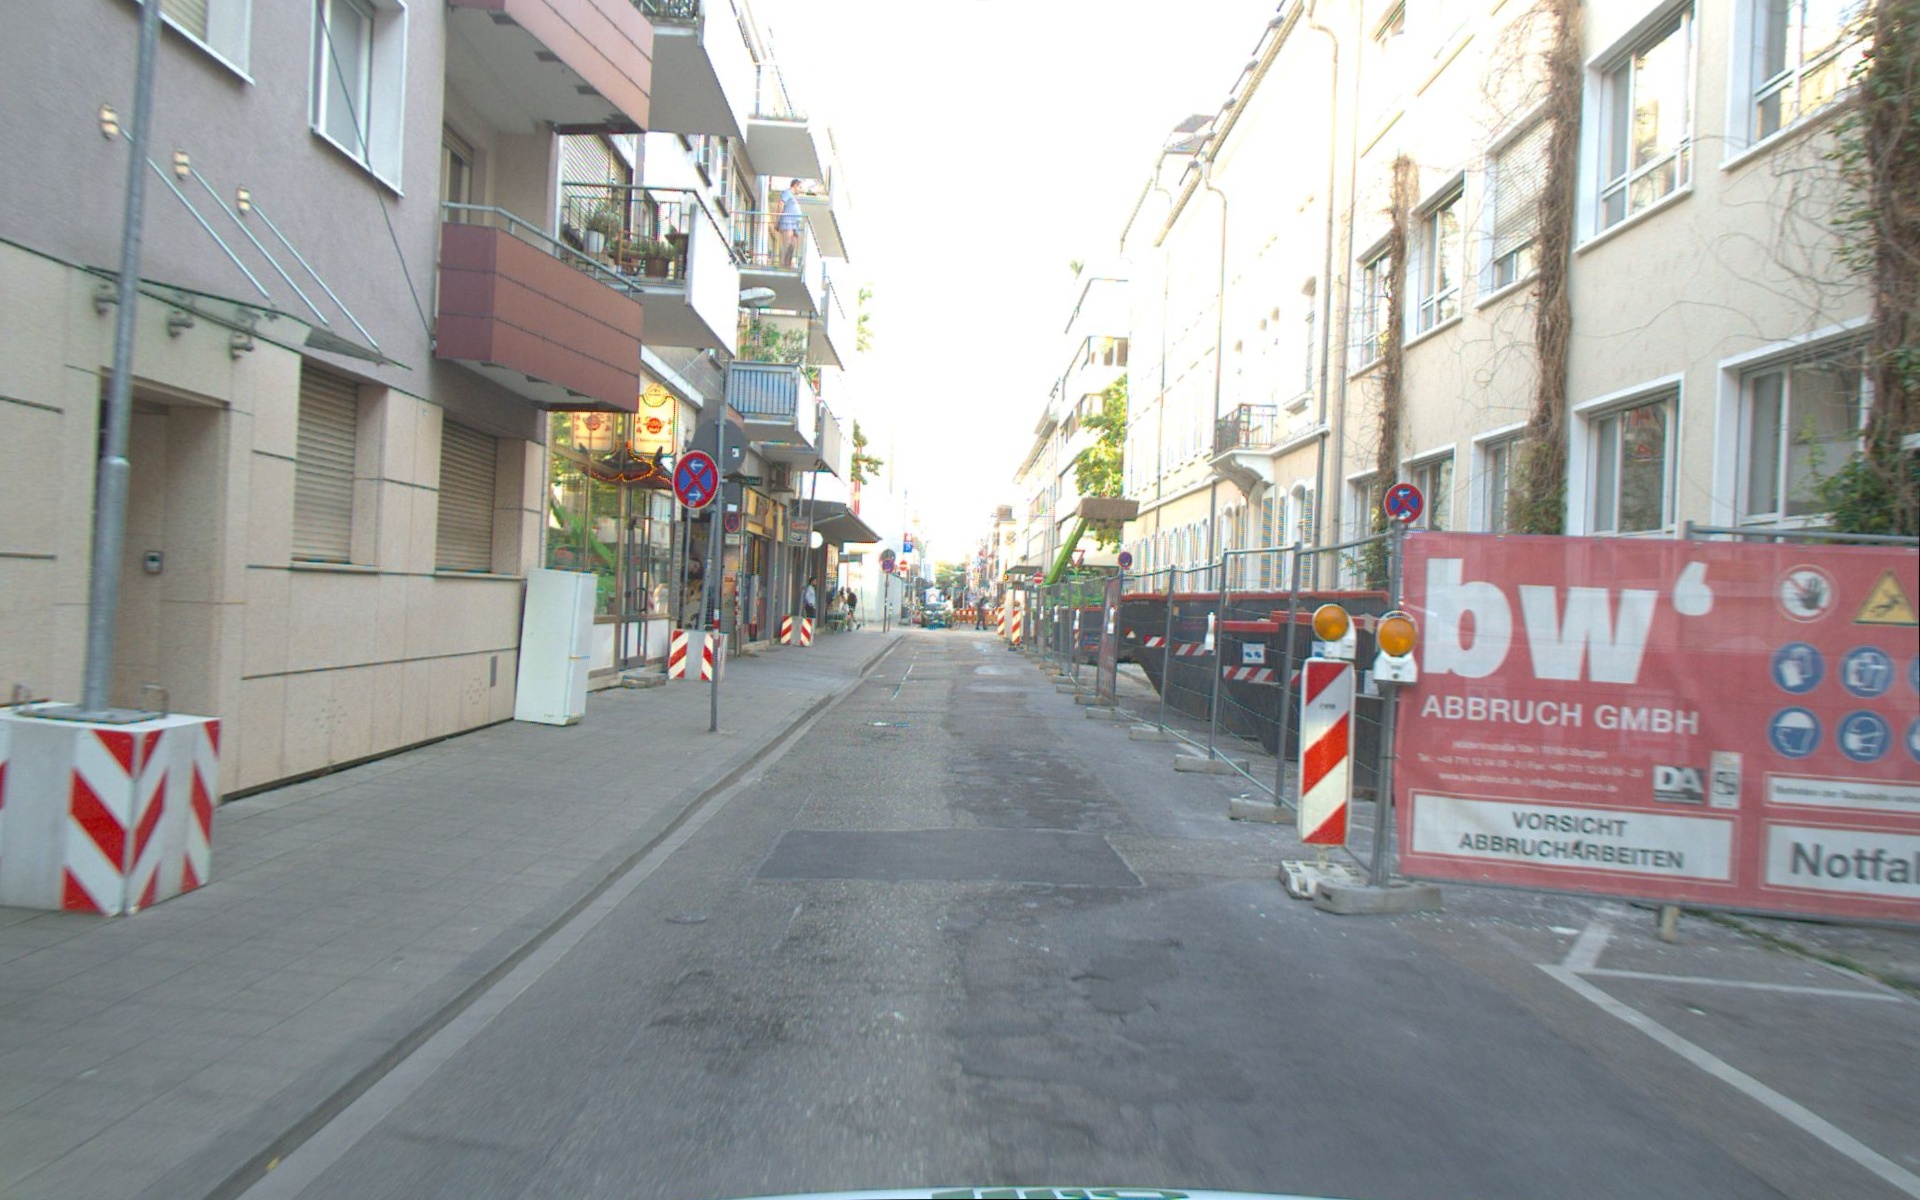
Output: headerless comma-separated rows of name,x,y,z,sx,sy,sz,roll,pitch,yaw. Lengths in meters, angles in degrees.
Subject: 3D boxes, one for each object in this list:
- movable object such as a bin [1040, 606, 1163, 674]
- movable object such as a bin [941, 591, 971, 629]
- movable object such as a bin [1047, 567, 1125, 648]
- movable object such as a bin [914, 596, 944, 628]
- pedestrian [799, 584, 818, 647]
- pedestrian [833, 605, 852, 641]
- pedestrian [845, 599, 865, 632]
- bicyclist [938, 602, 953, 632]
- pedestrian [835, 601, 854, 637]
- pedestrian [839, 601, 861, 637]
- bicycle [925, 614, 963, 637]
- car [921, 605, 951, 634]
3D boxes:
movable object such as a bin,4.008,1.096,48.456,2.681,1.667,7.550,3,0,-2
movable object such as a bin,-0.310,0.739,121.967,2.113,2.710,4.572,2,0,-1
movable object such as a bin,4.736,0.280,62.973,2.552,2.888,4.449,1,0,0
movable object such as a bin,-2.076,0.808,111.838,1.953,2.049,4.000,1,0,0
pedestrian,-4.570,0.464,49.894,0.520,1.866,0.562,2,0,-7
pedestrian,-4.301,0.841,60.558,0.561,1.297,0.713,4,0,0
pedestrian,-4.253,0.622,66.850,0.697,1.298,0.704,2,0,0
bicyclist,-0.717,0.842,82.584,0.710,1.467,0.506,2,0,-3
pedestrian,-4.294,0.712,61.451,0.561,1.297,0.713,4,0,0
pedestrian,-4.149,0.719,62.539,0.688,1.297,0.713,4,0,-1
bicycle,-0.806,1.259,82.615,1.853,1.056,0.409,2,0,-4
car,-1.410,1.134,96.659,1.597,1.577,3.140,1,0,-4
